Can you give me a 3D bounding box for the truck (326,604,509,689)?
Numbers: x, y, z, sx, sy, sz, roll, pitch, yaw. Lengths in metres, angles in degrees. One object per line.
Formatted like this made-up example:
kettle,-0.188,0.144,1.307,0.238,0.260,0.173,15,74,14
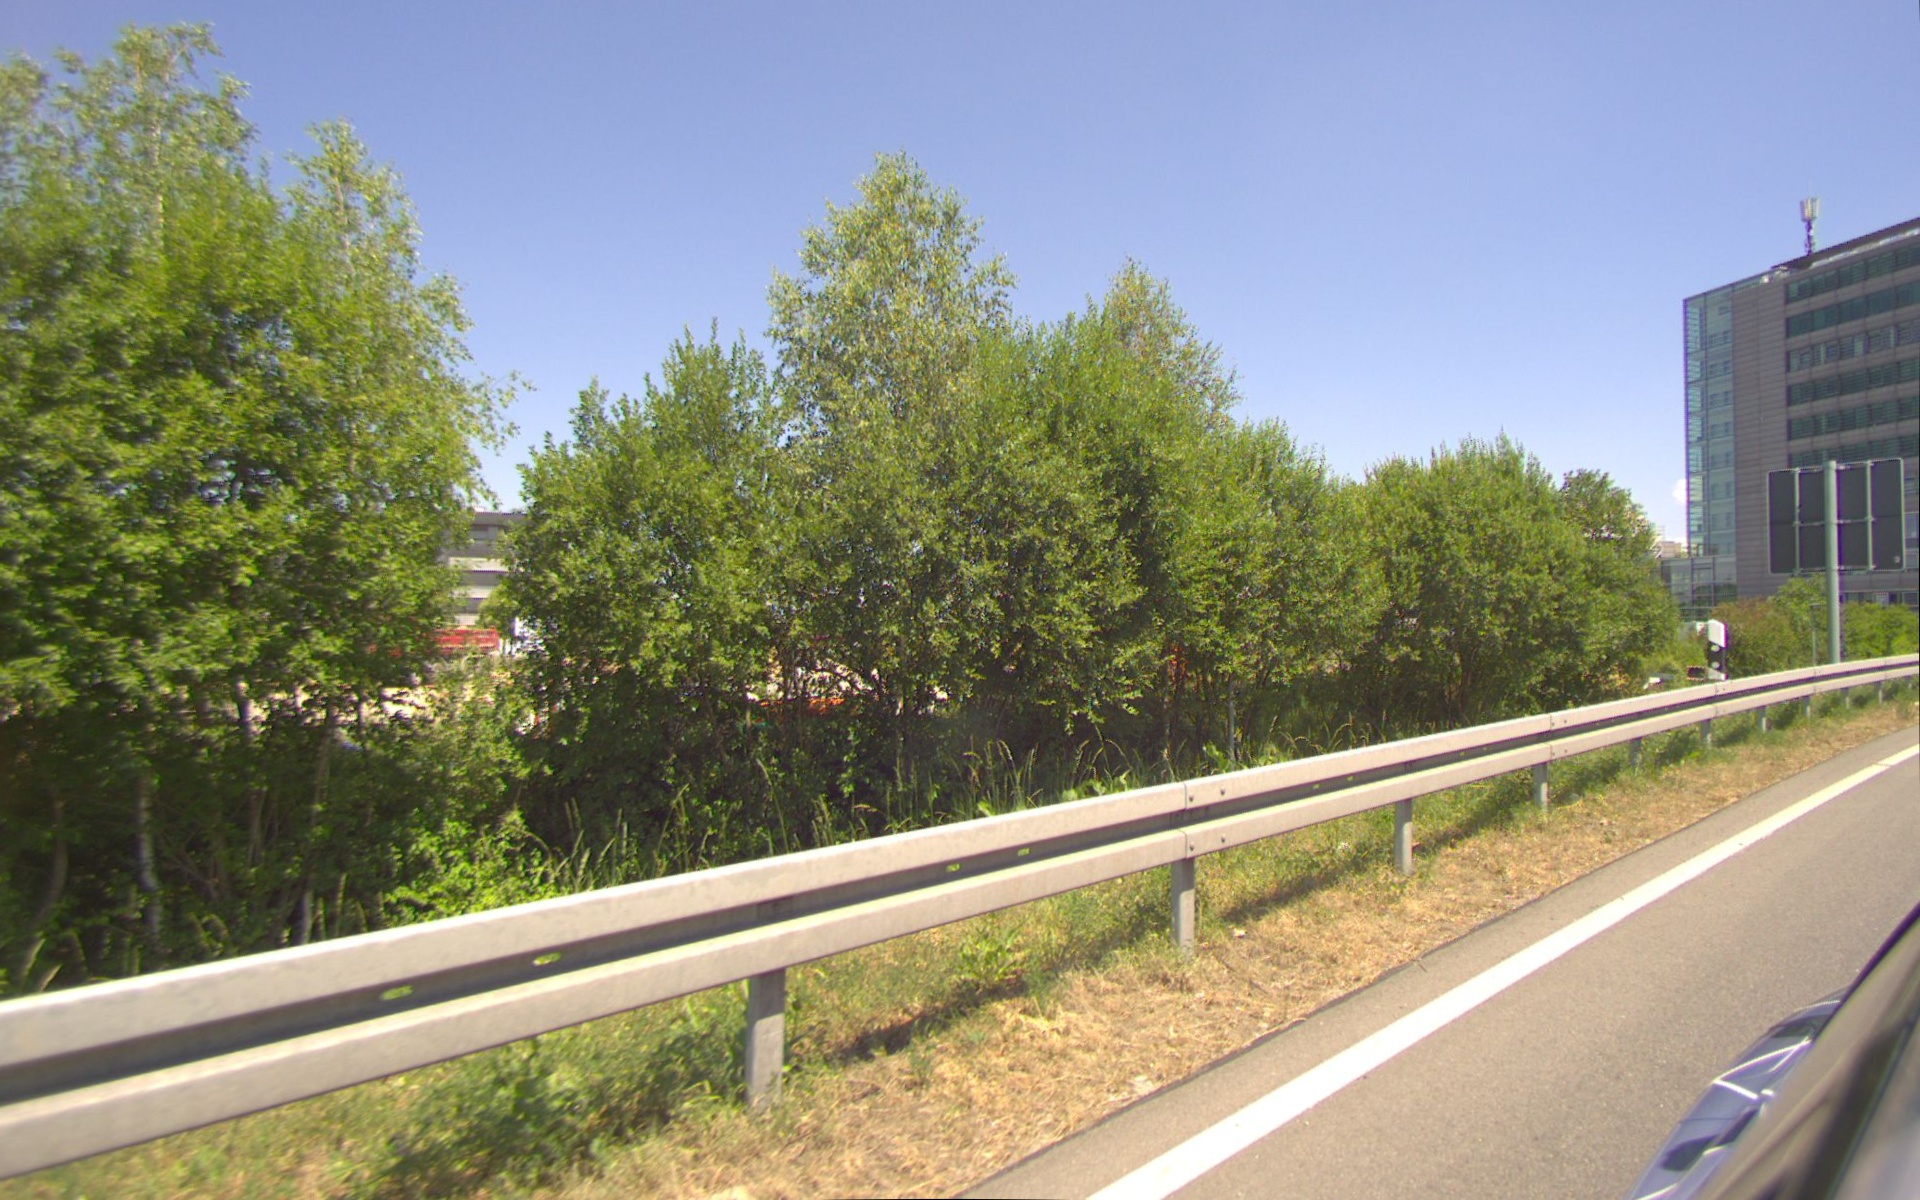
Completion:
truck,-25.997,2.276,49.280,3.076,3.733,9.399,0,-3,6
